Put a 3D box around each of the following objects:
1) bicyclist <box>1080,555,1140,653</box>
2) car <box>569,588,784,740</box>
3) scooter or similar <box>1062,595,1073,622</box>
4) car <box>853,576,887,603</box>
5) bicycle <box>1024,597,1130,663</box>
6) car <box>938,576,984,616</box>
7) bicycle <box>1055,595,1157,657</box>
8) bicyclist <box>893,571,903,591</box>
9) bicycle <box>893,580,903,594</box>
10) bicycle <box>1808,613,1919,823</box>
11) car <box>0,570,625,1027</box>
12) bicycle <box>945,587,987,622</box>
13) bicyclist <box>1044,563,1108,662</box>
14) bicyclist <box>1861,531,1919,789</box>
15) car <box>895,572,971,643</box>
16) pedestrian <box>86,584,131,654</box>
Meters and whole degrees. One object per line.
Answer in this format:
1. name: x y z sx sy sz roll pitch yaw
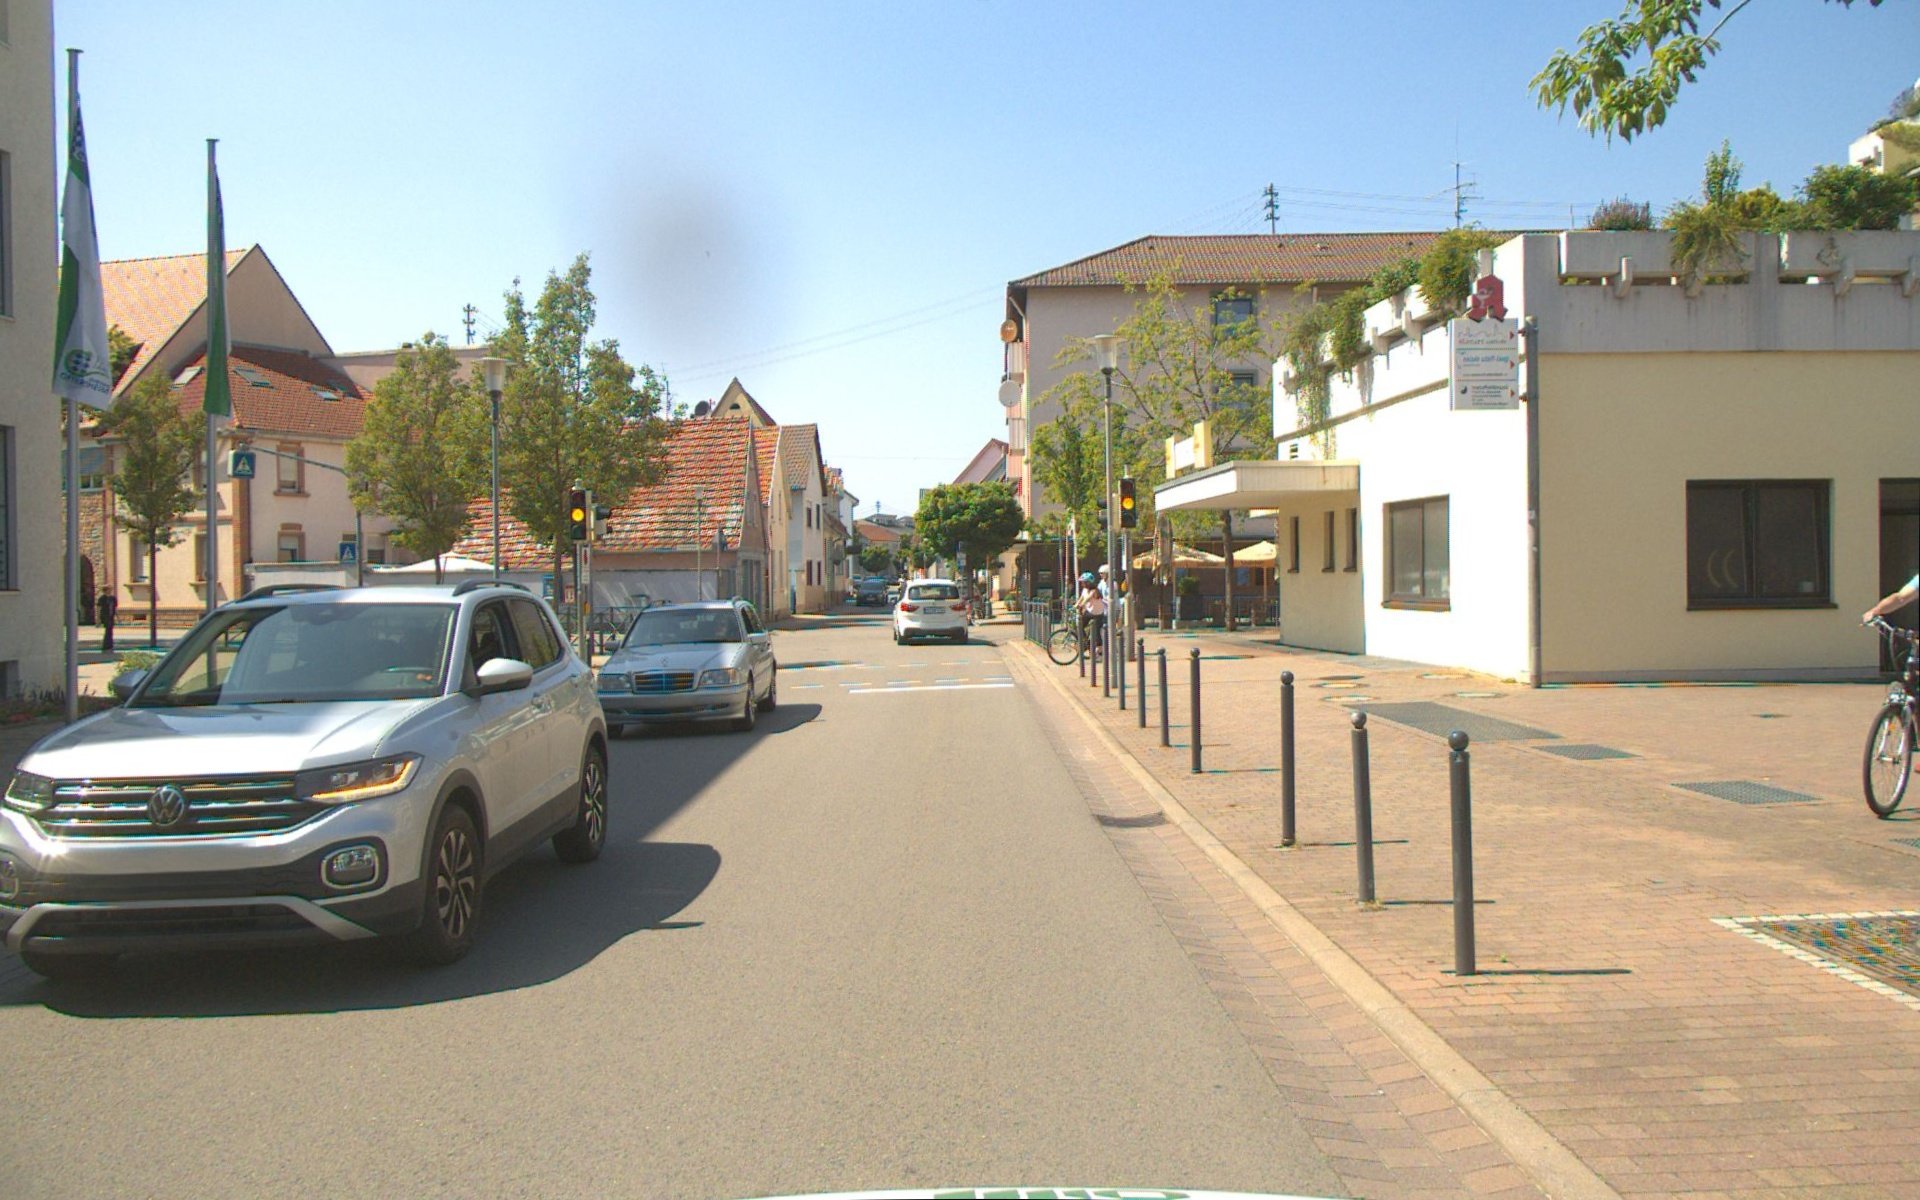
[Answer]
1. bicyclist: 2.665 0.071 29.452 0.755 1.693 0.661 -4 1 -40
2. car: -3.219 0.654 19.655 1.843 1.489 4.435 -3 1 -2
3. scooter or similar: 3.699 0.298 56.858 0.371 0.889 0.891 -1 1 4
4. car: -5.377 -0.649 99.215 1.678 1.543 3.787 -1 1 1
5. bicycle: 1.985 0.495 27.861 1.883 0.974 0.665 -5 2 -45
6. car: 0.076 -0.189 68.527 1.767 1.527 4.001 -1 1 2
7. bicycle: 2.608 0.450 29.397 1.879 0.974 0.666 -4 1 -41
8. bicyclist: -4.628 -1.412 123.885 0.659 1.508 0.771 -1 0 2
9. bicycle: -4.647 -1.009 123.986 0.650 1.023 1.898 -1 1 2
10. bicycle: 6.117 0.662 10.186 1.870 1.128 0.669 -3 1 -30
11. car: -2.918 0.683 7.905 1.813 1.601 4.000 -1 1 -1
12. bicycle: 0.207 0.164 59.746 0.523 1.214 1.648 -1 1 -43
13. bicyclist: 1.954 0.205 27.826 0.756 1.609 0.660 -4 2 -44
14. bicyclist: 6.115 0.348 10.187 0.751 1.553 0.664 -3 1 -30
15. car: -0.732 0.155 42.270 1.797 1.680 3.998 -1 1 -3
16. pedestrian: -20.731 0.449 40.279 0.807 1.683 0.839 0 0 -41
